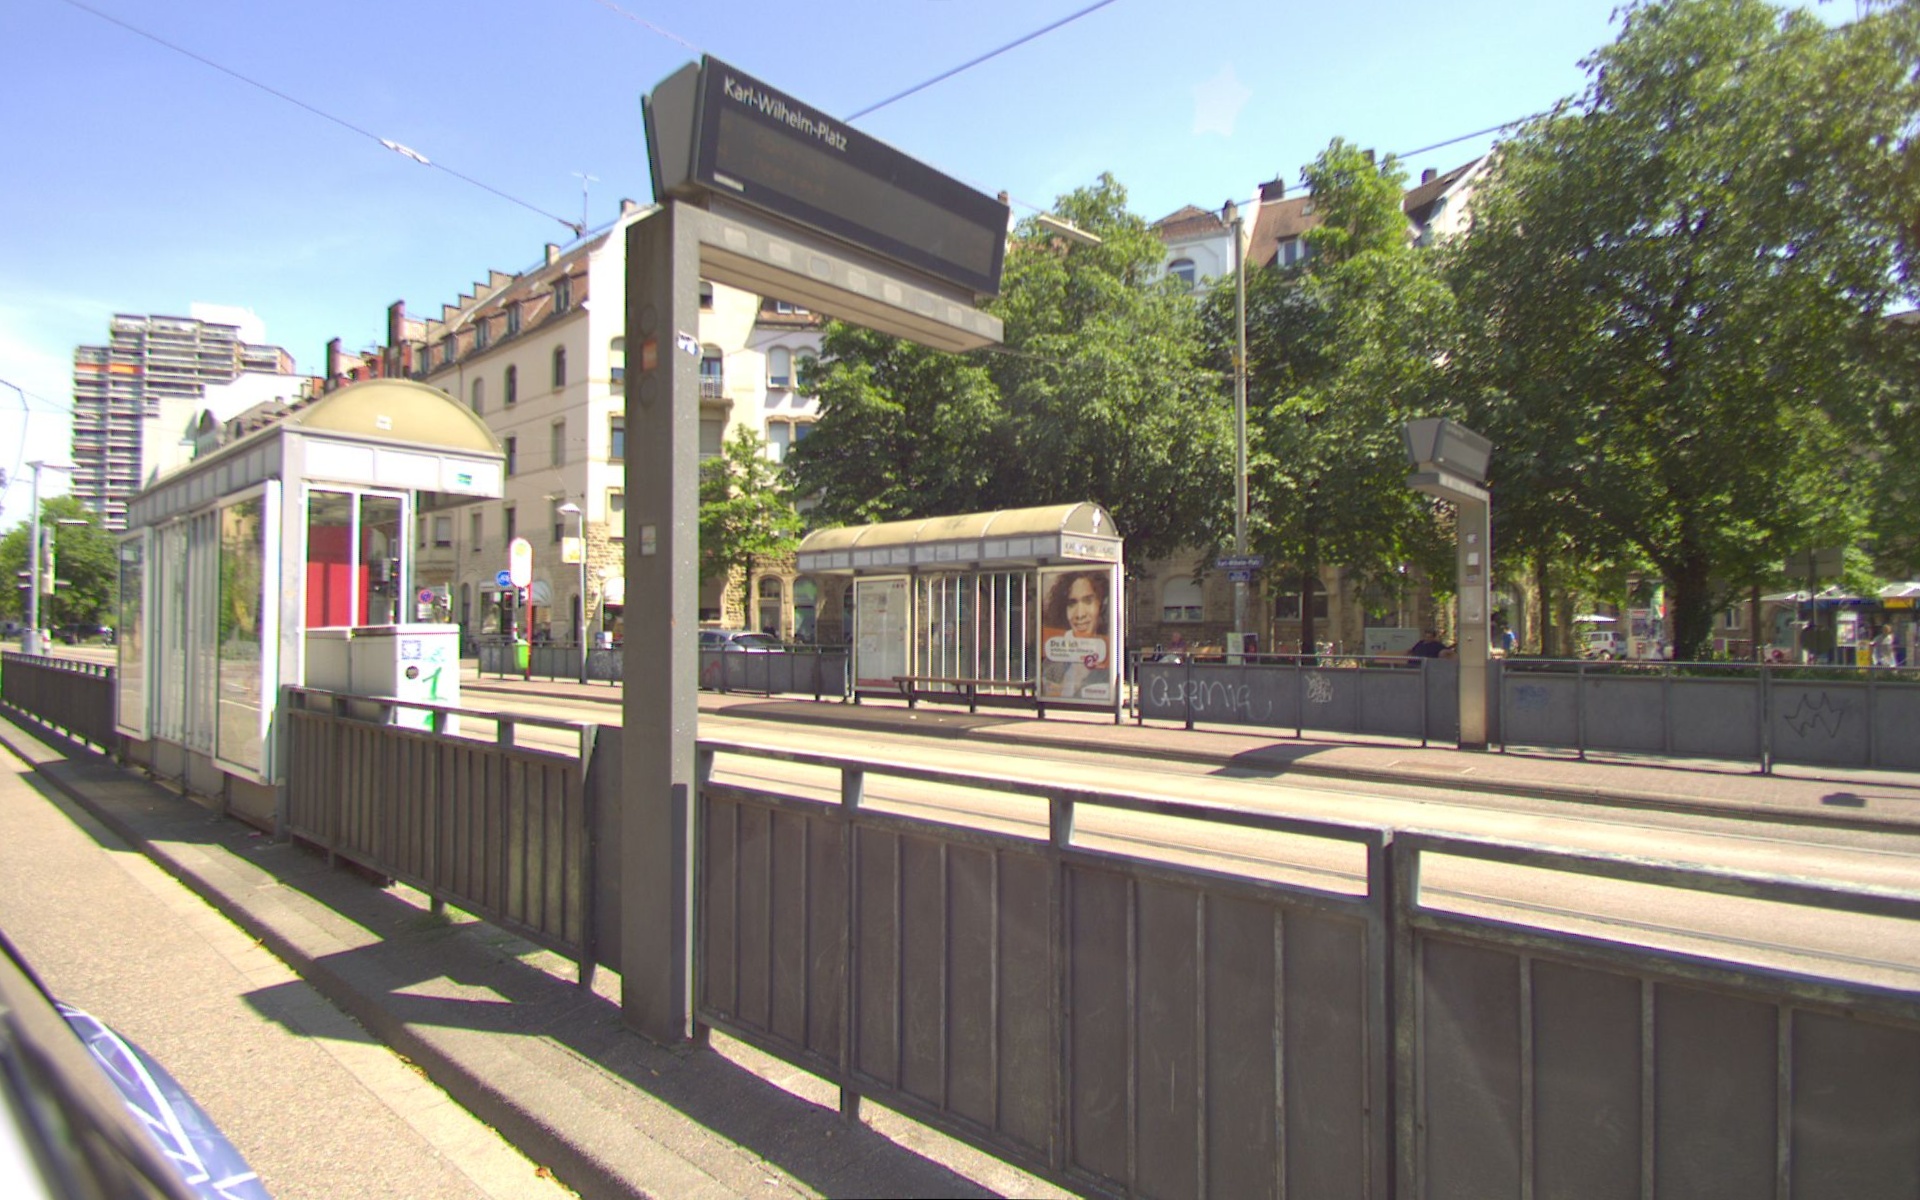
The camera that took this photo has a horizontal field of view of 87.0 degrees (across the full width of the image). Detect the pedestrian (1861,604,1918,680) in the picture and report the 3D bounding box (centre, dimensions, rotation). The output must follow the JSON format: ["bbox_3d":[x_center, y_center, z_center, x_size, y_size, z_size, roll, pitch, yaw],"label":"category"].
[{"bbox_3d":[25.124,1.136,27.358,0.704,2.029,0.816,0,-2,-10],"label":"pedestrian"}]

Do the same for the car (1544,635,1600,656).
[{"bbox_3d":[26.474,1.948,43.814,1.899,0.872,0.856,0,-1,17],"label":"car"}]

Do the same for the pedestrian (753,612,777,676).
[{"bbox_3d":[-5.692,1.282,29.489,0.494,1.836,0.505,-1,-2,43],"label":"pedestrian"}]

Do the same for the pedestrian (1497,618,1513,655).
[{"bbox_3d":[24.231,1.629,45.007,0.526,1.635,0.491,-1,-1,41],"label":"pedestrian"}]

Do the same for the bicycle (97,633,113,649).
[{"bbox_3d":[-62.020,2.989,73.390,1.977,1.166,0.621,-2,-2,42],"label":"bicycle"}]

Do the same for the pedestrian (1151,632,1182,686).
[{"bbox_3d":[4.966,1.418,24.346,0.637,1.265,0.549,0,-1,2],"label":"pedestrian"}]

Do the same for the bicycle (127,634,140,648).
[{"bbox_3d":[-65.525,3.262,80.246,2.046,1.105,0.487,-2,-2,42],"label":"bicycle"}]

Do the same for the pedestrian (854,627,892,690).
[{"bbox_3d":[-2.303,1.538,26.799,0.772,1.618,0.673,-1,-1,38],"label":"pedestrian"}]

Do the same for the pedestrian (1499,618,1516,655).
[{"bbox_3d":[24.594,1.635,45.430,0.560,1.635,0.507,-1,-1,41],"label":"pedestrian"}]

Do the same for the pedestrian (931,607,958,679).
[{"bbox_3d":[-0.411,1.138,26.845,0.504,1.893,0.494,1,-2,-44],"label":"pedestrian"}]

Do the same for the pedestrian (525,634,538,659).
[{"bbox_3d":[-19.429,2.108,45.928,0.405,1.157,0.401,-1,-1,38],"label":"pedestrian"}]

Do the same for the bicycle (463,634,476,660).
[{"bbox_3d":[-24.069,2.293,49.611,0.447,1.234,2.086,0,-1,-29],"label":"bicycle"}]

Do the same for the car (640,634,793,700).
[{"bbox_3d":[-5.644,1.480,23.284,3.716,1.349,1.525,-1,-1,40],"label":"car"}]

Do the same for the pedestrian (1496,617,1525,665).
[{"bbox_3d":[20.352,1.498,37.413,0.606,1.764,0.719,0,-1,-25],"label":"pedestrian"}]

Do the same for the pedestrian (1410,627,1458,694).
[{"bbox_3d":[9.384,1.194,20.048,0.637,1.297,0.618,0,-1,2],"label":"pedestrian"}]

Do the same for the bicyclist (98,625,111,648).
[{"bbox_3d":[-61.971,2.639,73.317,0.585,1.586,0.602,-1,-1,41],"label":"bicyclist"}]

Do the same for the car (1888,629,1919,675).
[{"bbox_3d":[32.104,1.667,32.852,3.676,1.453,1.546,0,-1,-24],"label":"car"}]
